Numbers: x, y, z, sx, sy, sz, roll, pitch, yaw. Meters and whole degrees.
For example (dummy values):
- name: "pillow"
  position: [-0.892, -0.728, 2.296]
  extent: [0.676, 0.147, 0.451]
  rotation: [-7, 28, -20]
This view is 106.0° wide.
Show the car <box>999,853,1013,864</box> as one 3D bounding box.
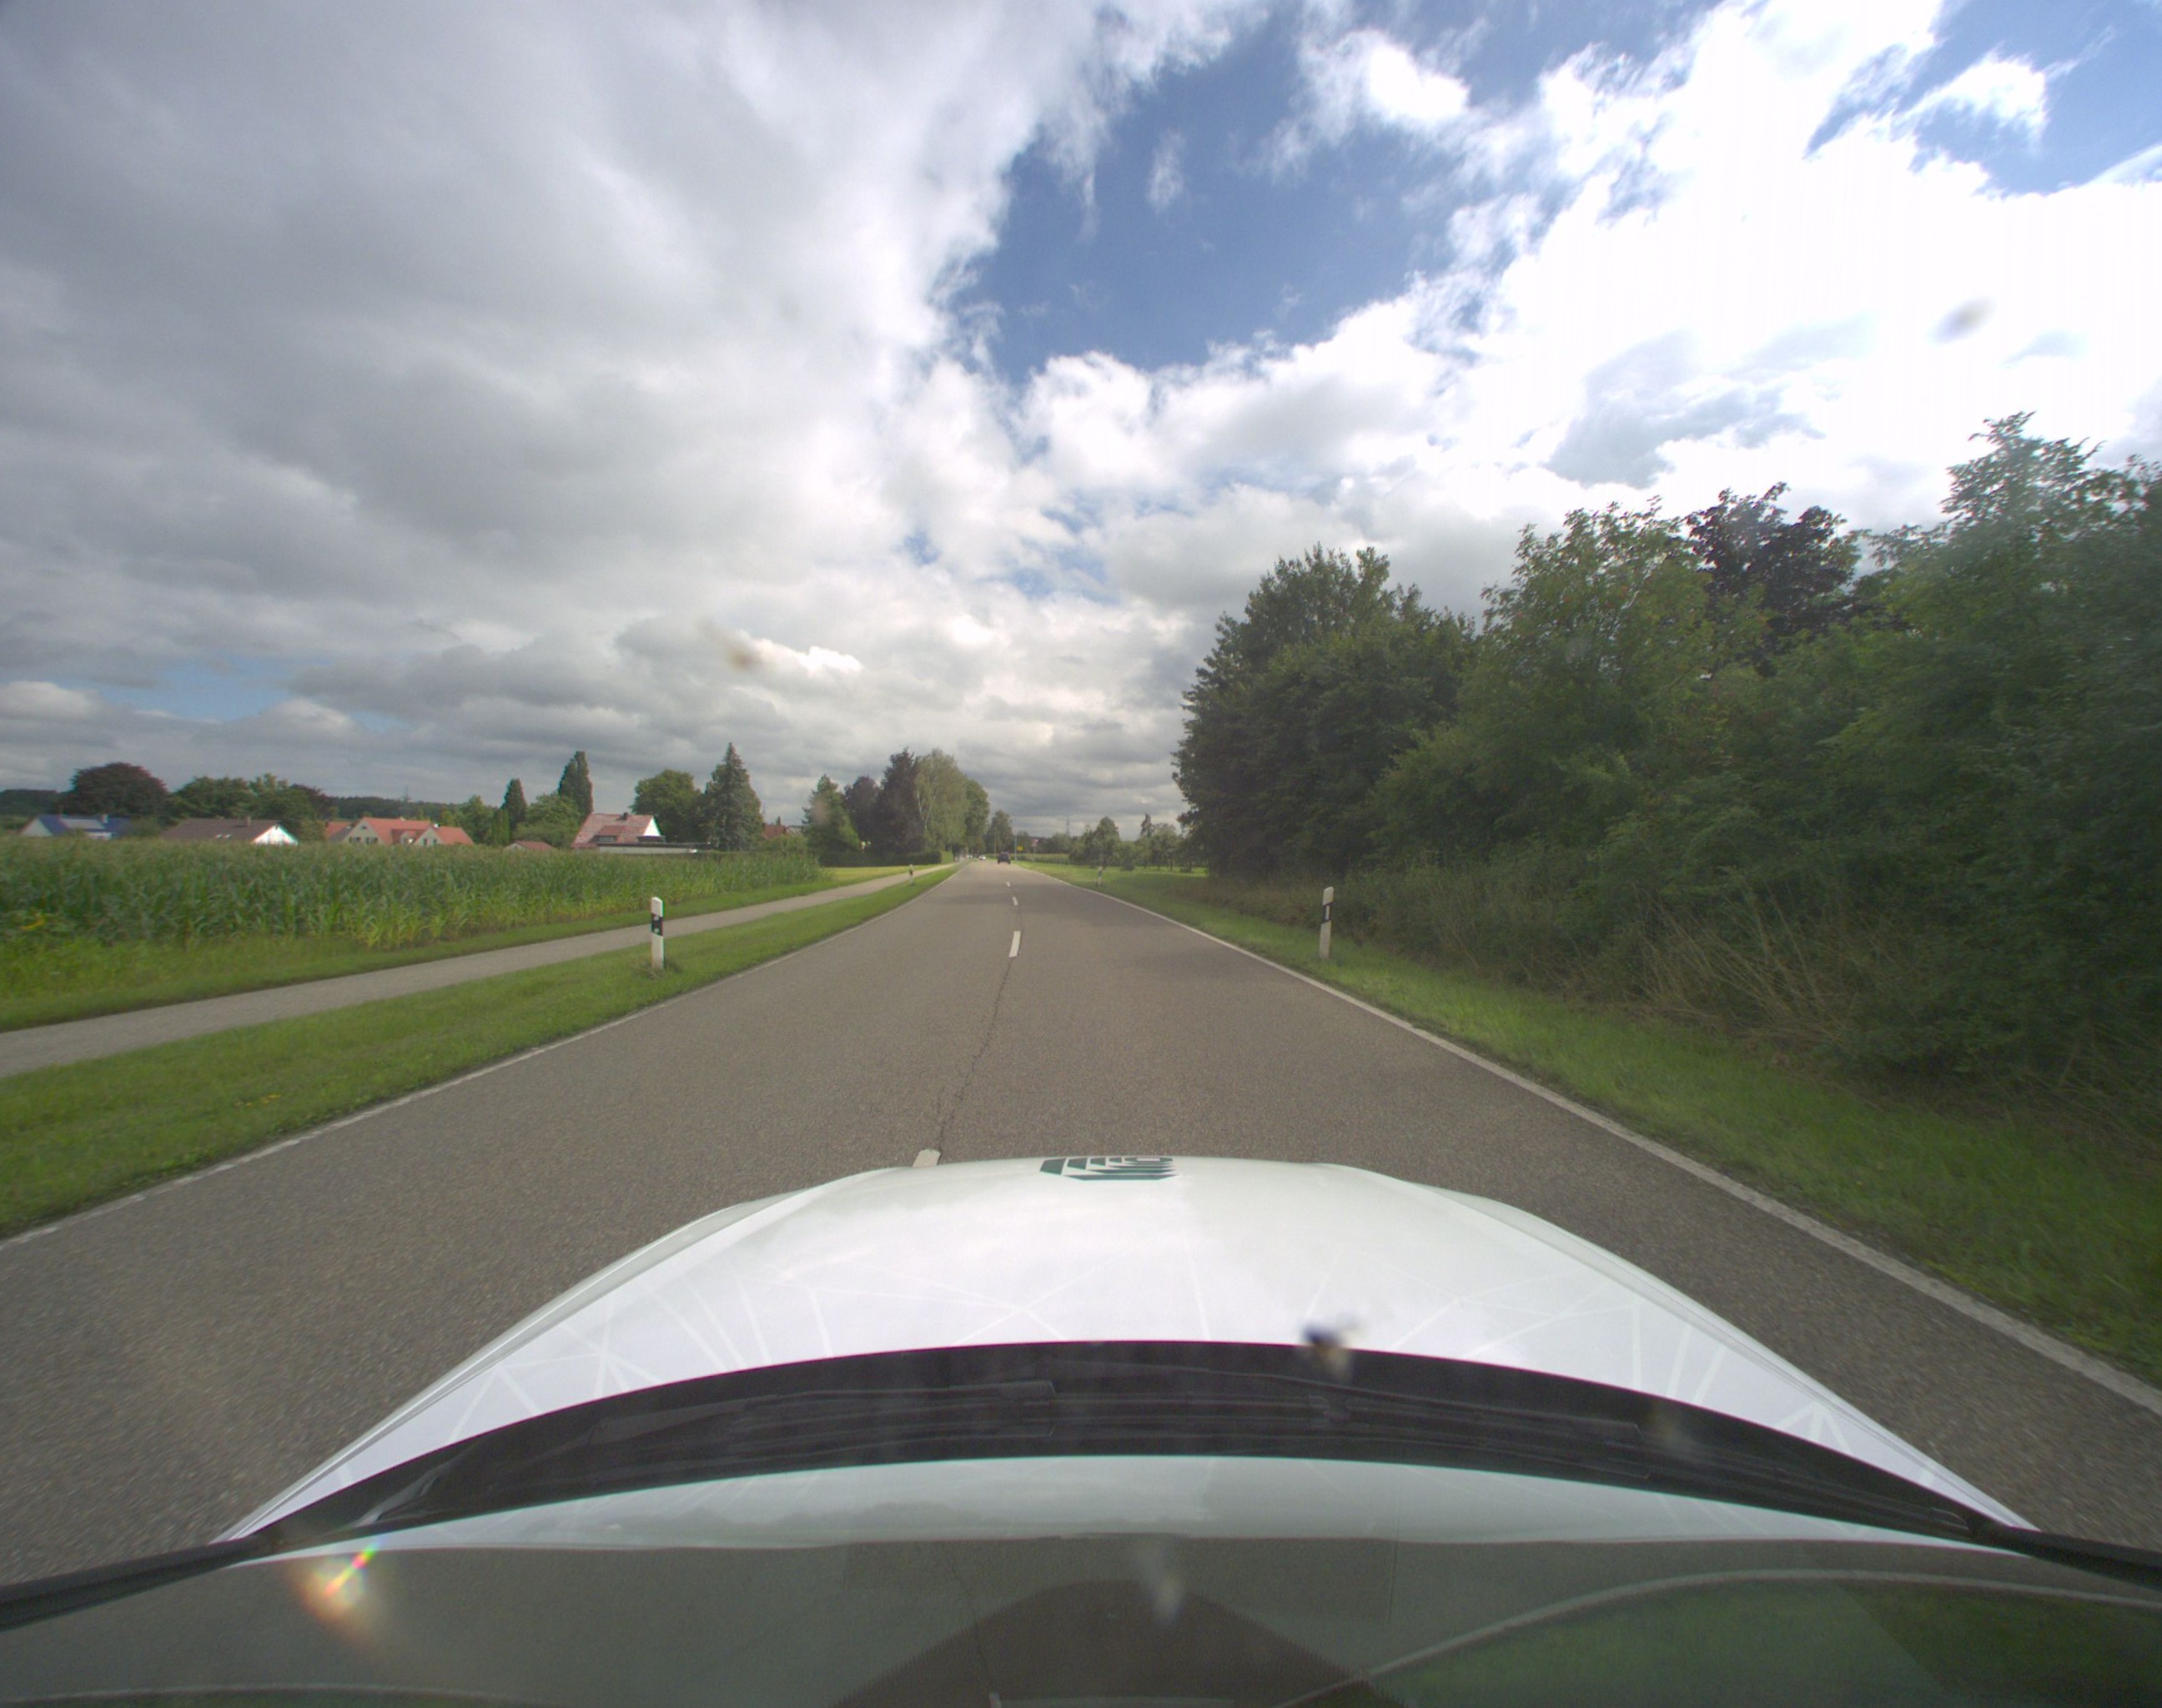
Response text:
- name: "car"
  position: [-11.007, 0.658, 119.316]
  extent: [1.904, 1.666, 3.991]
  rotation: [0, 0, -7]
